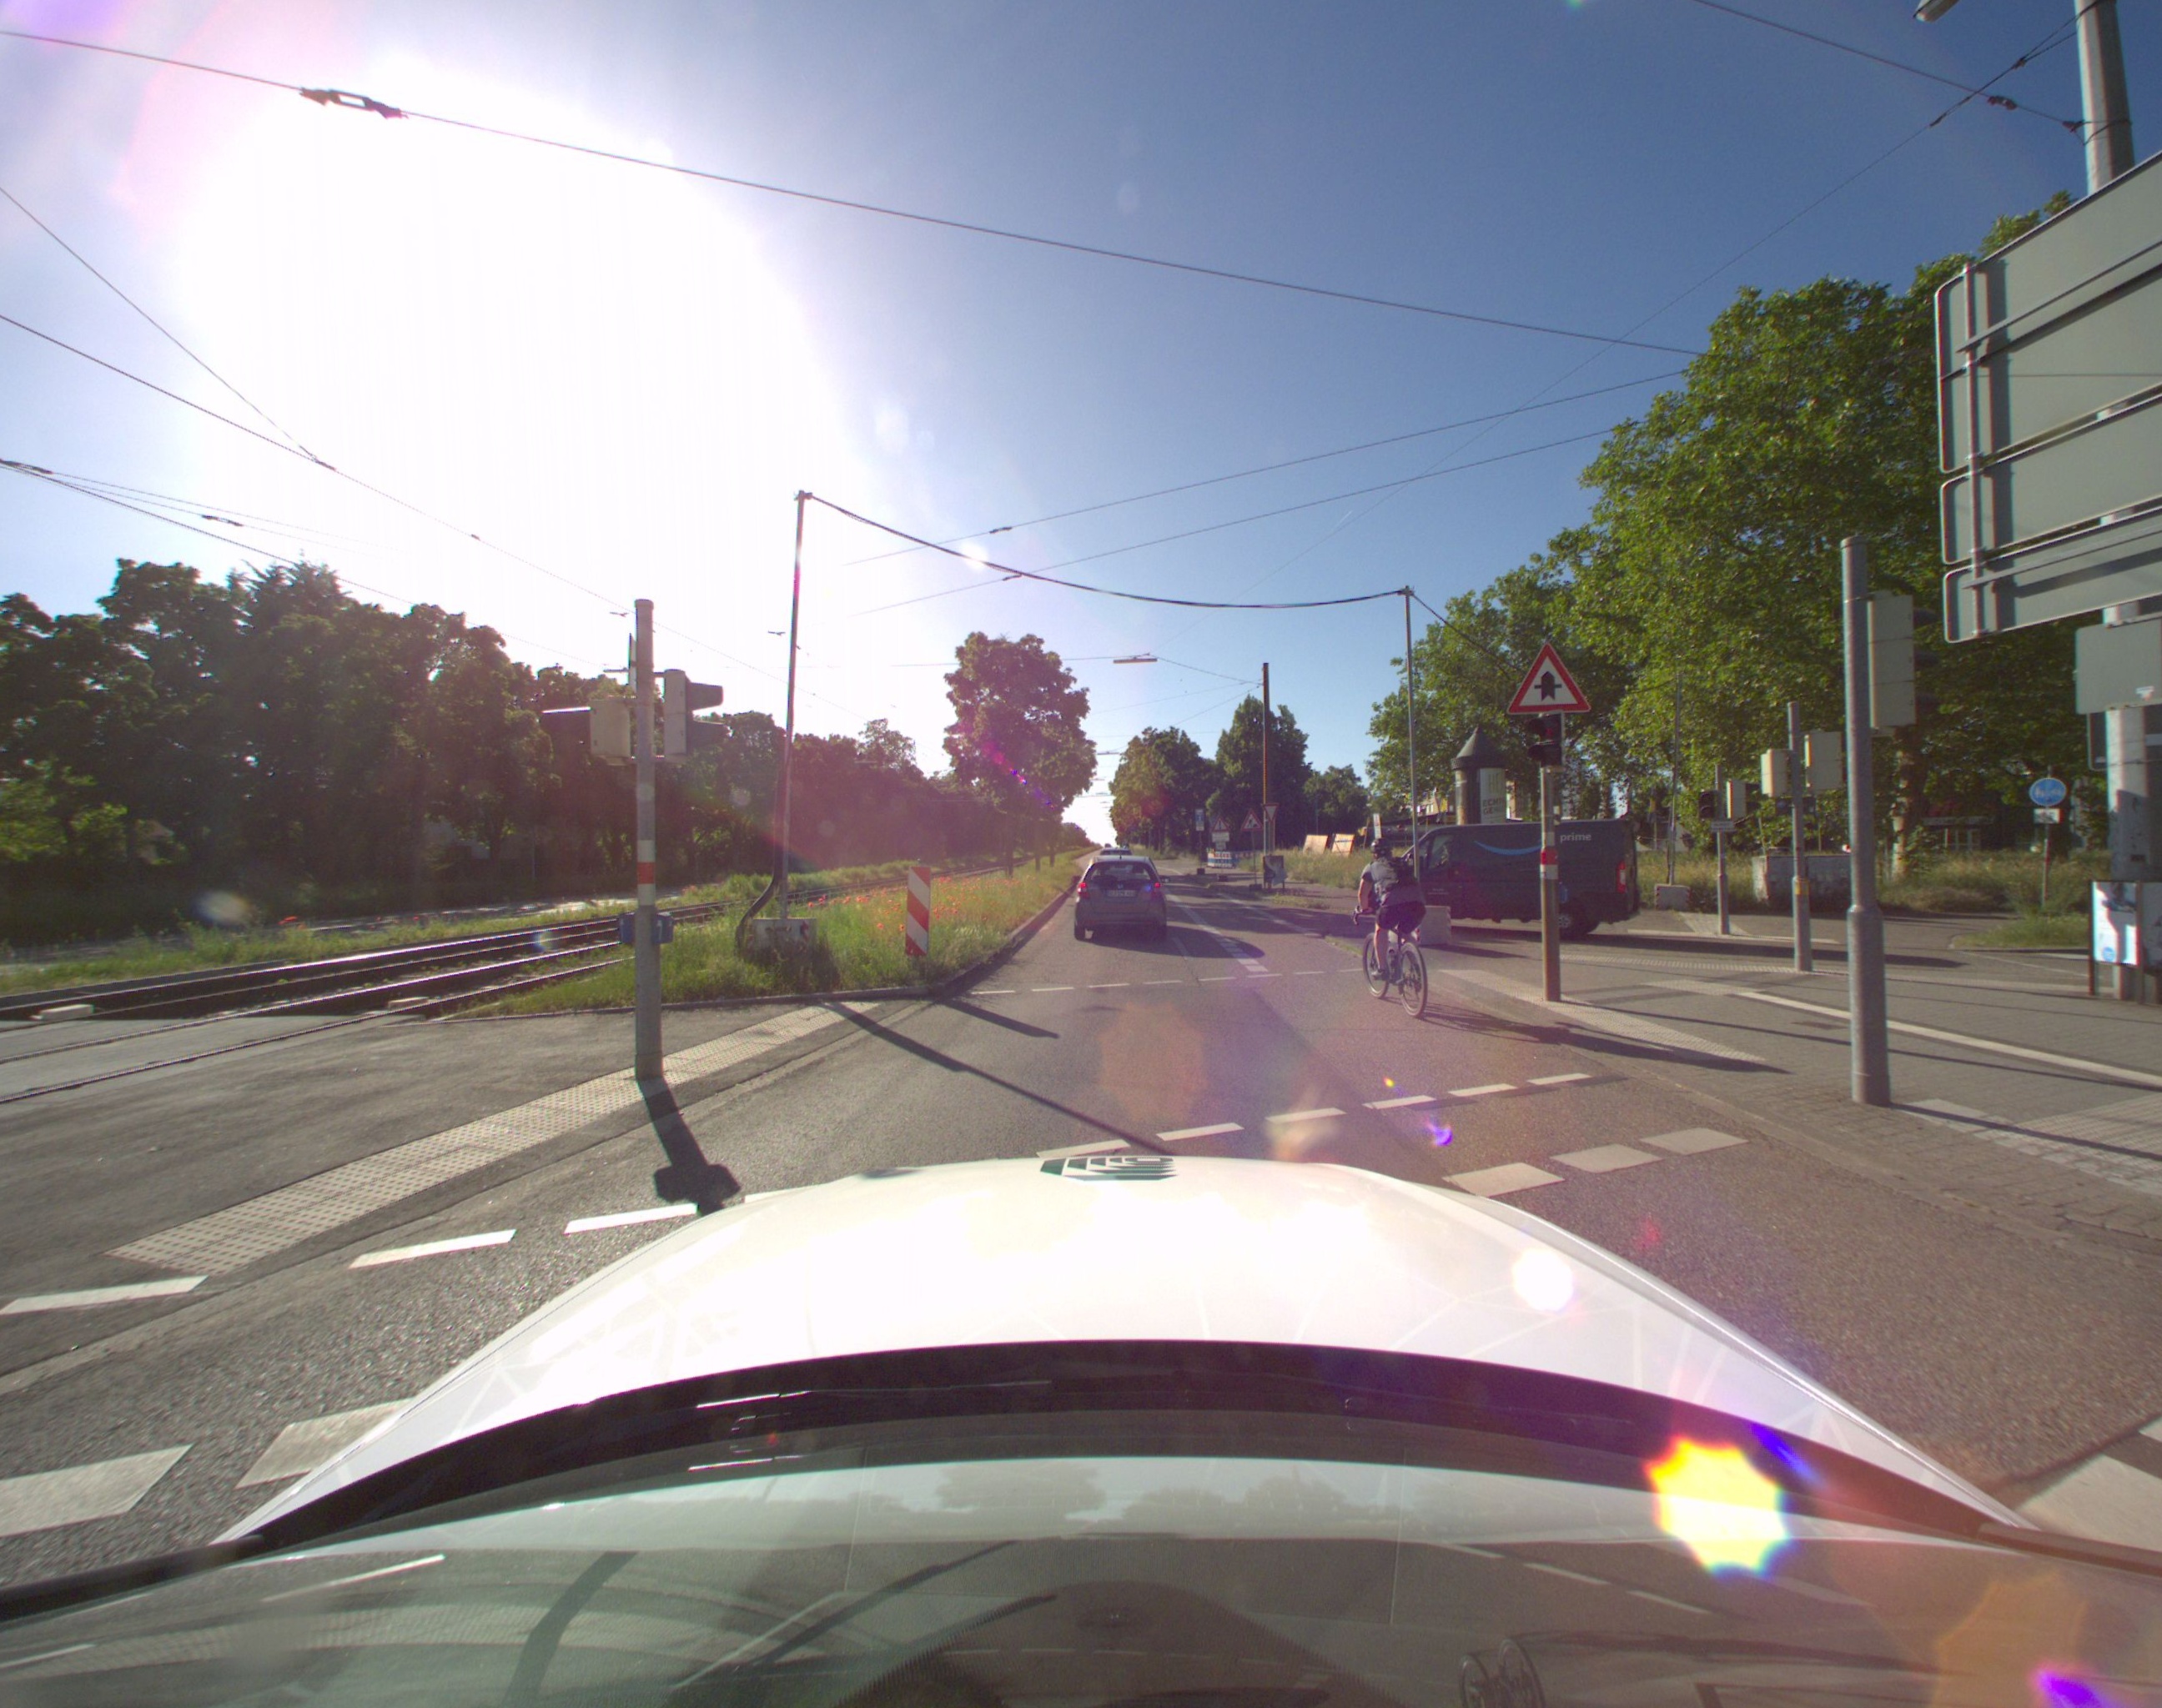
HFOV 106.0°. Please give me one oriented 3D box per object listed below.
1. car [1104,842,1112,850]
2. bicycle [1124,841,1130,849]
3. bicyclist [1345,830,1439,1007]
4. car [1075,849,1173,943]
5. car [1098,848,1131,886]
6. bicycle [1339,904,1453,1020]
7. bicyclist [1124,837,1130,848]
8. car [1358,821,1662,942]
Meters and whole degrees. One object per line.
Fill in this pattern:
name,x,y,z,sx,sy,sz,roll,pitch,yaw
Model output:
car,7.946,-2.383,241.058,1.985,2.013,4.004,-3,0,3
bicycle,6.564,-1.335,116.520,0.814,1.048,2.508,0,-1,4
bicyclist,3.117,0.617,8.238,0.612,1.679,0.934,-1,-1,4
car,0.819,0.711,15.871,1.664,1.515,3.676,1,1,2
car,1.502,0.544,35.492,1.345,1.528,3.126,-1,0,3
bicycle,3.196,1.050,8.449,0.521,0.923,2.092,-1,0,5
bicyclist,6.575,-1.696,116.544,0.814,1.524,0.967,0,-1,3
car,8.497,0.488,16.428,5.054,2.070,2.144,-1,0,41
